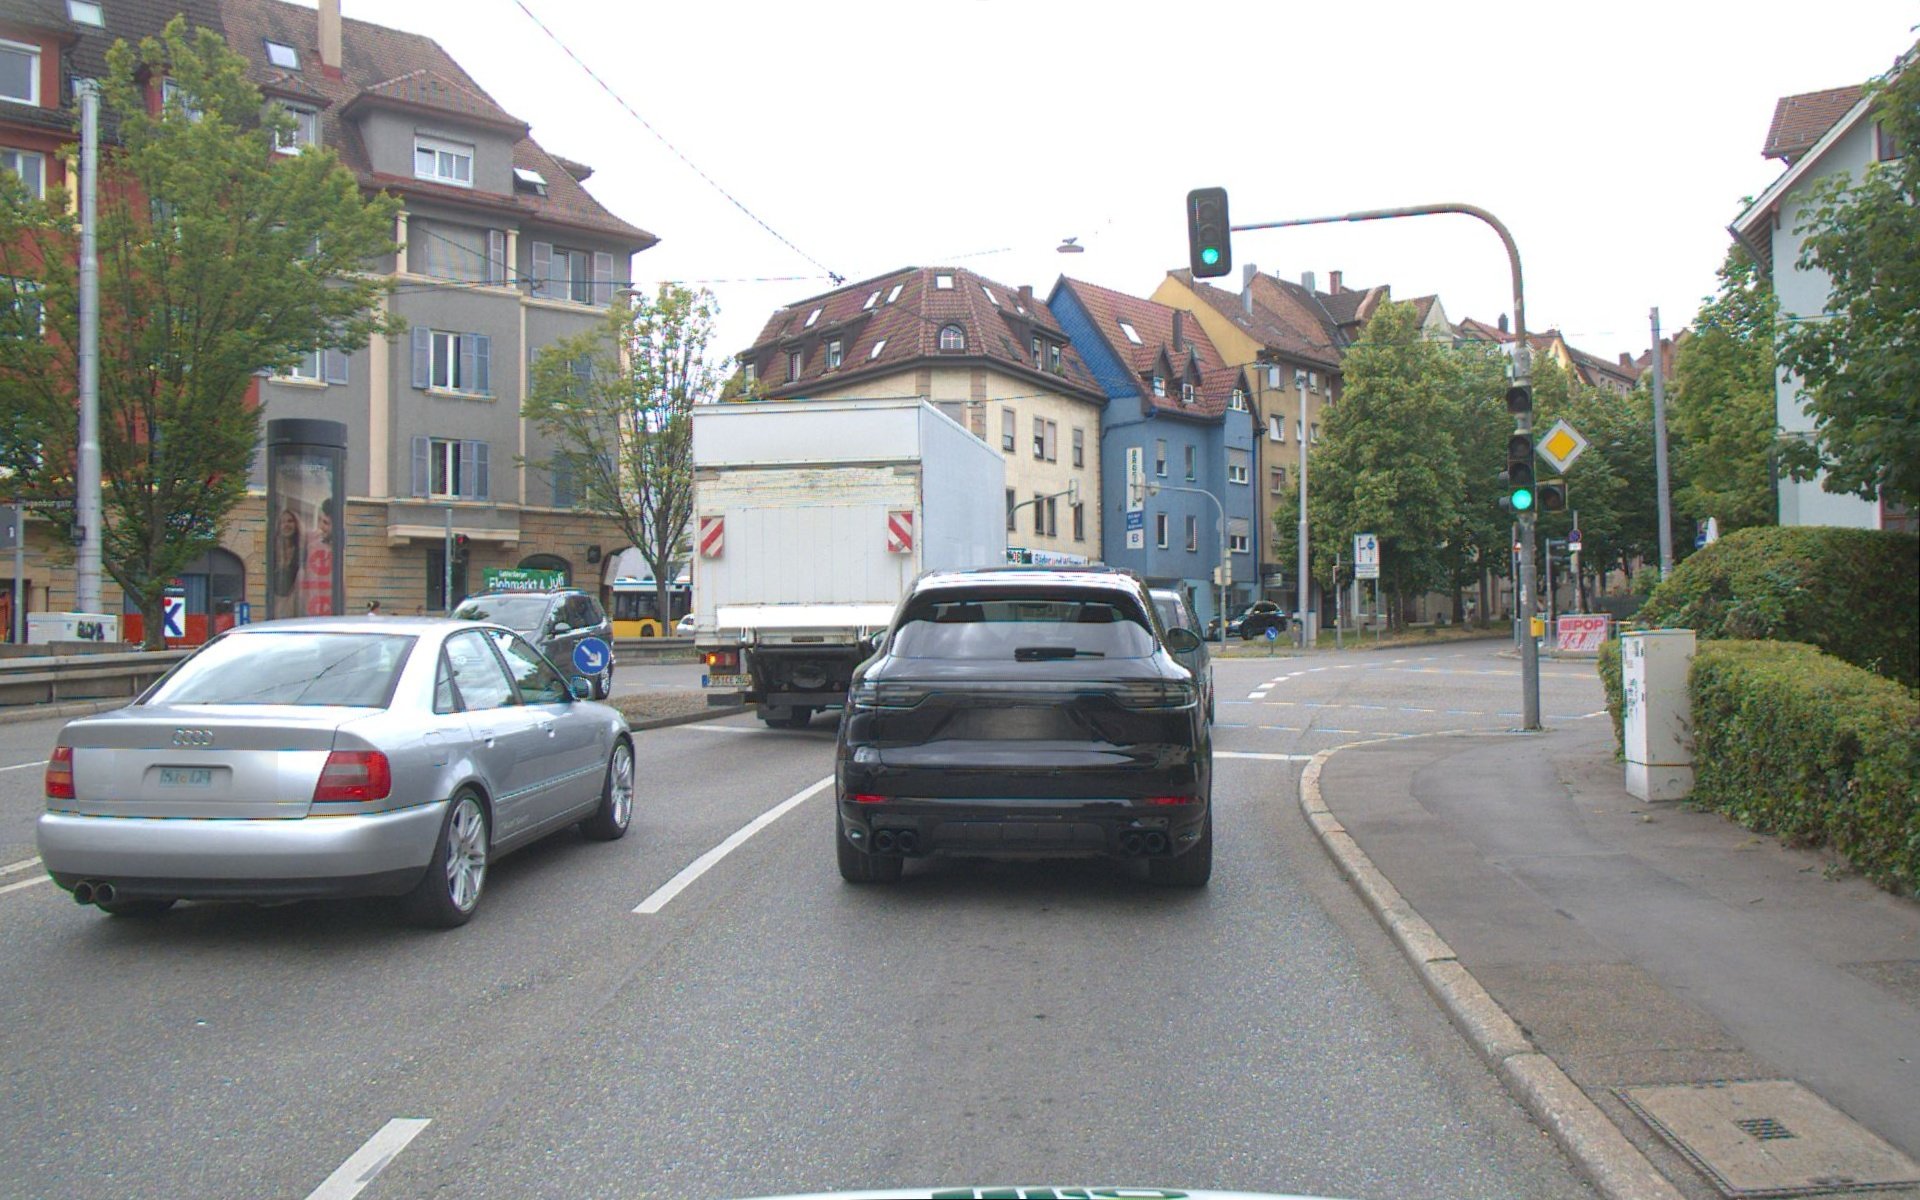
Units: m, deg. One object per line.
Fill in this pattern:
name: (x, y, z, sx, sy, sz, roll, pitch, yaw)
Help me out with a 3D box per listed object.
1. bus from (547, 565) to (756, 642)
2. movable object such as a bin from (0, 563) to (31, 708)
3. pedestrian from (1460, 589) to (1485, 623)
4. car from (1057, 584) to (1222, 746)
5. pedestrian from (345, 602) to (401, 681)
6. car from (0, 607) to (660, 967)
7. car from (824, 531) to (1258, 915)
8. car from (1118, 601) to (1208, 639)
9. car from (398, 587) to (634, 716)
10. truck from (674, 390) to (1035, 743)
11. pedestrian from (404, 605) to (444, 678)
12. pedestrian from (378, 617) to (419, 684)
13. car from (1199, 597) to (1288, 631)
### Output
bus: (-13.851, 0.197, 73.202, 3.143, 3.150, 11.955, 1, -1, -44)
movable object such as a bin: (-14.131, 0.510, 22.780, 1.351, 2.049, 3.524, -1, 0, -13)
pedestrian: (30.889, 0.365, 99.704, 1.173, 2.049, 0.984, -1, 0, 39)
car: (2.051, 0.663, 18.230, 1.613, 1.583, 3.585, 1, -1, 9)
pedestrian: (-11.845, 0.825, 33.394, 0.777, 1.573, 0.737, 0, 0, 26)
car: (-2.897, 0.754, 8.603, 1.594, 1.389, 4.130, -1, 0, 5)
car: (0.323, 0.556, 9.906, 1.990, 1.753, 4.499, 1, 0, -1)
car: (8.480, 0.829, 68.752, 1.690, 1.502, 4.195, -2, -2, 40)
car: (-6.490, 0.708, 24.805, 1.864, 1.744, 4.722, 0, 0, 6)
truck: (-0.927, -0.357, 21.260, 2.667, 3.606, 8.428, 1, 0, 10)
pedestrian: (-11.269, 0.855, 34.777, 0.511, 1.513, 0.653, 0, 0, 21)
pedestrian: (-11.580, 1.028, 34.125, 0.562, 1.361, 0.584, -1, 0, 21)
car: (12.744, 0.651, 74.160, 1.841, 1.441, 4.673, -2, -2, 40)
